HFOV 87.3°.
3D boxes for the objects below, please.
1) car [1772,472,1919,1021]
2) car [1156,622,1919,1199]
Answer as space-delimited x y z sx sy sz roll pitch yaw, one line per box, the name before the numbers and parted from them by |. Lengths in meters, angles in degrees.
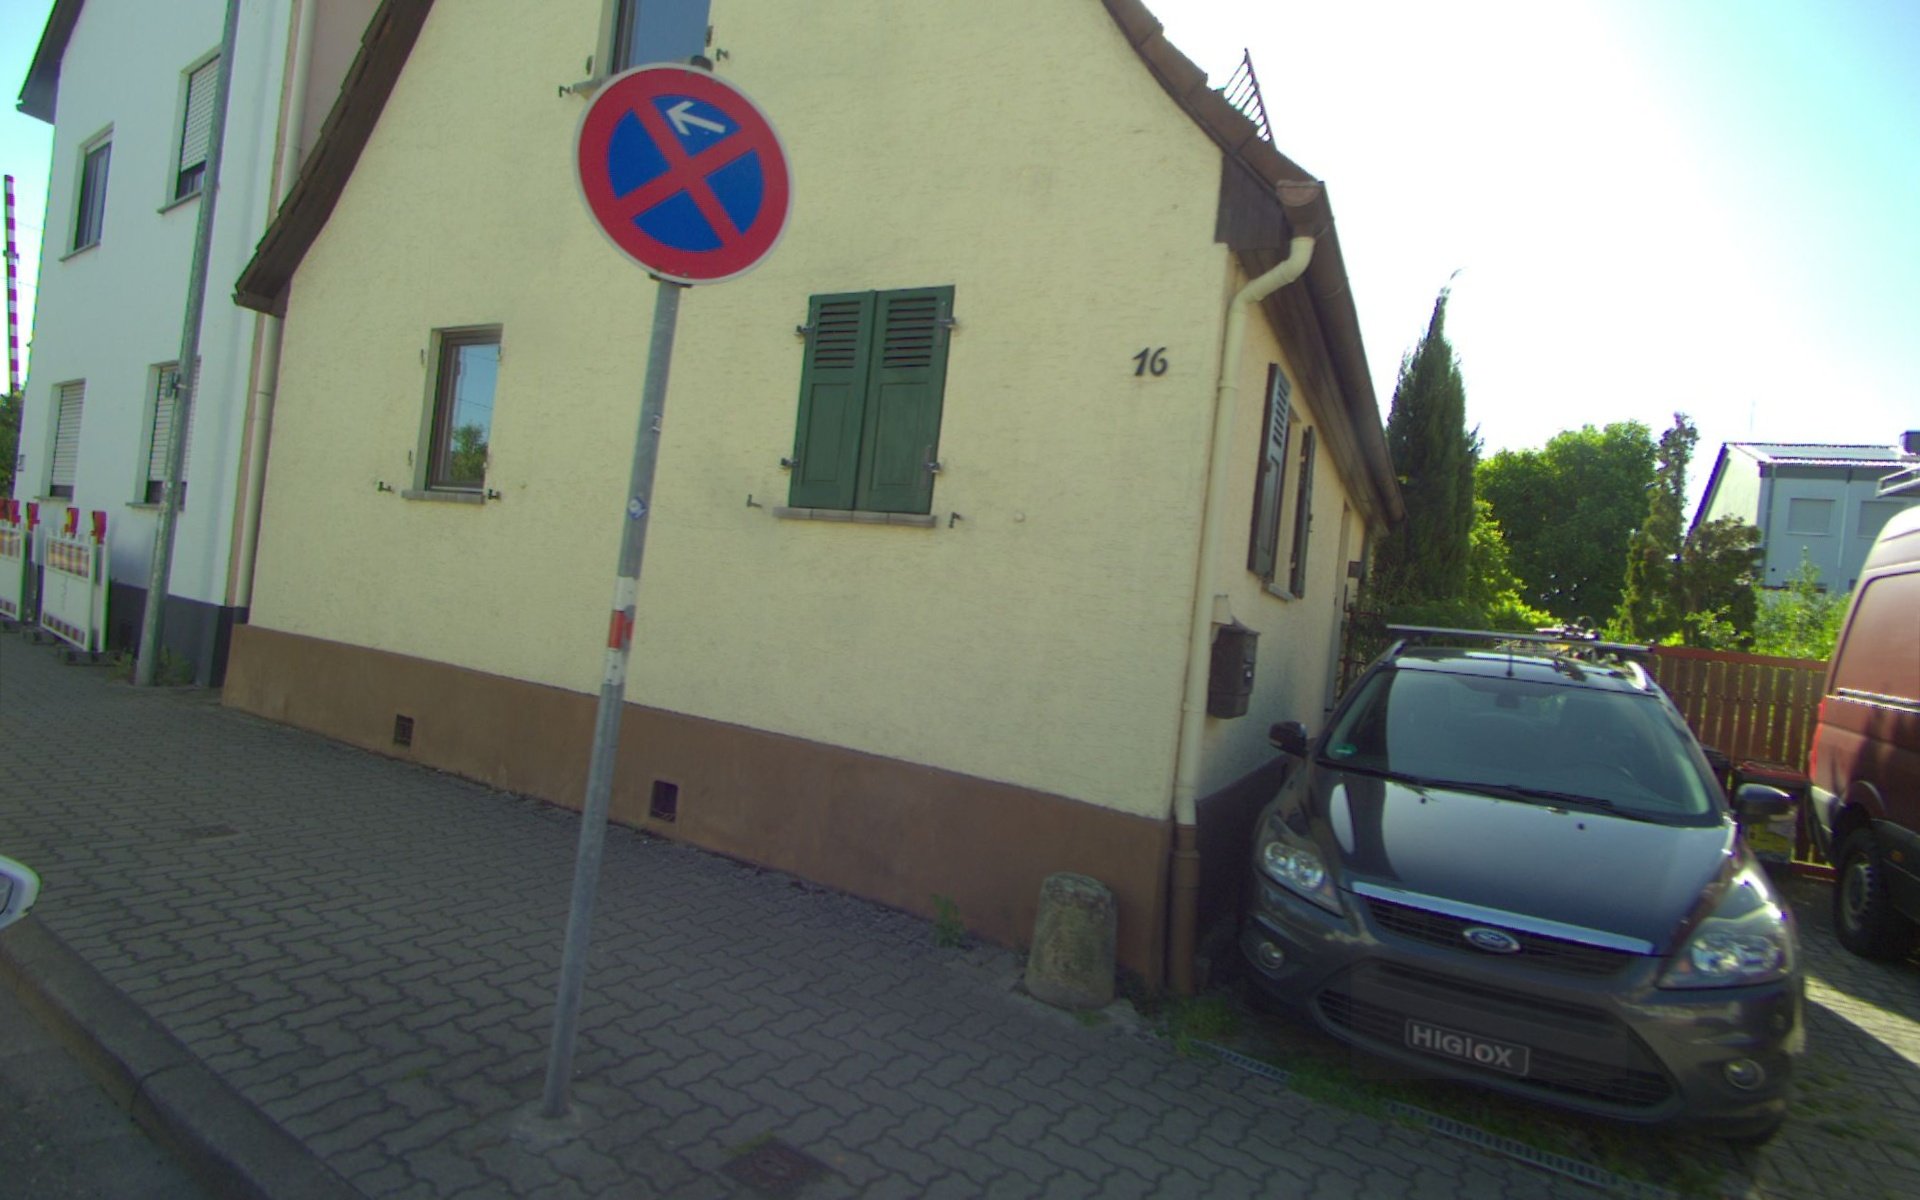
car | 5.216 0.690 3.686 1.933 2.688 5.815 5 0 25
car | 2.502 1.000 4.818 1.808 1.505 4.381 6 0 27
